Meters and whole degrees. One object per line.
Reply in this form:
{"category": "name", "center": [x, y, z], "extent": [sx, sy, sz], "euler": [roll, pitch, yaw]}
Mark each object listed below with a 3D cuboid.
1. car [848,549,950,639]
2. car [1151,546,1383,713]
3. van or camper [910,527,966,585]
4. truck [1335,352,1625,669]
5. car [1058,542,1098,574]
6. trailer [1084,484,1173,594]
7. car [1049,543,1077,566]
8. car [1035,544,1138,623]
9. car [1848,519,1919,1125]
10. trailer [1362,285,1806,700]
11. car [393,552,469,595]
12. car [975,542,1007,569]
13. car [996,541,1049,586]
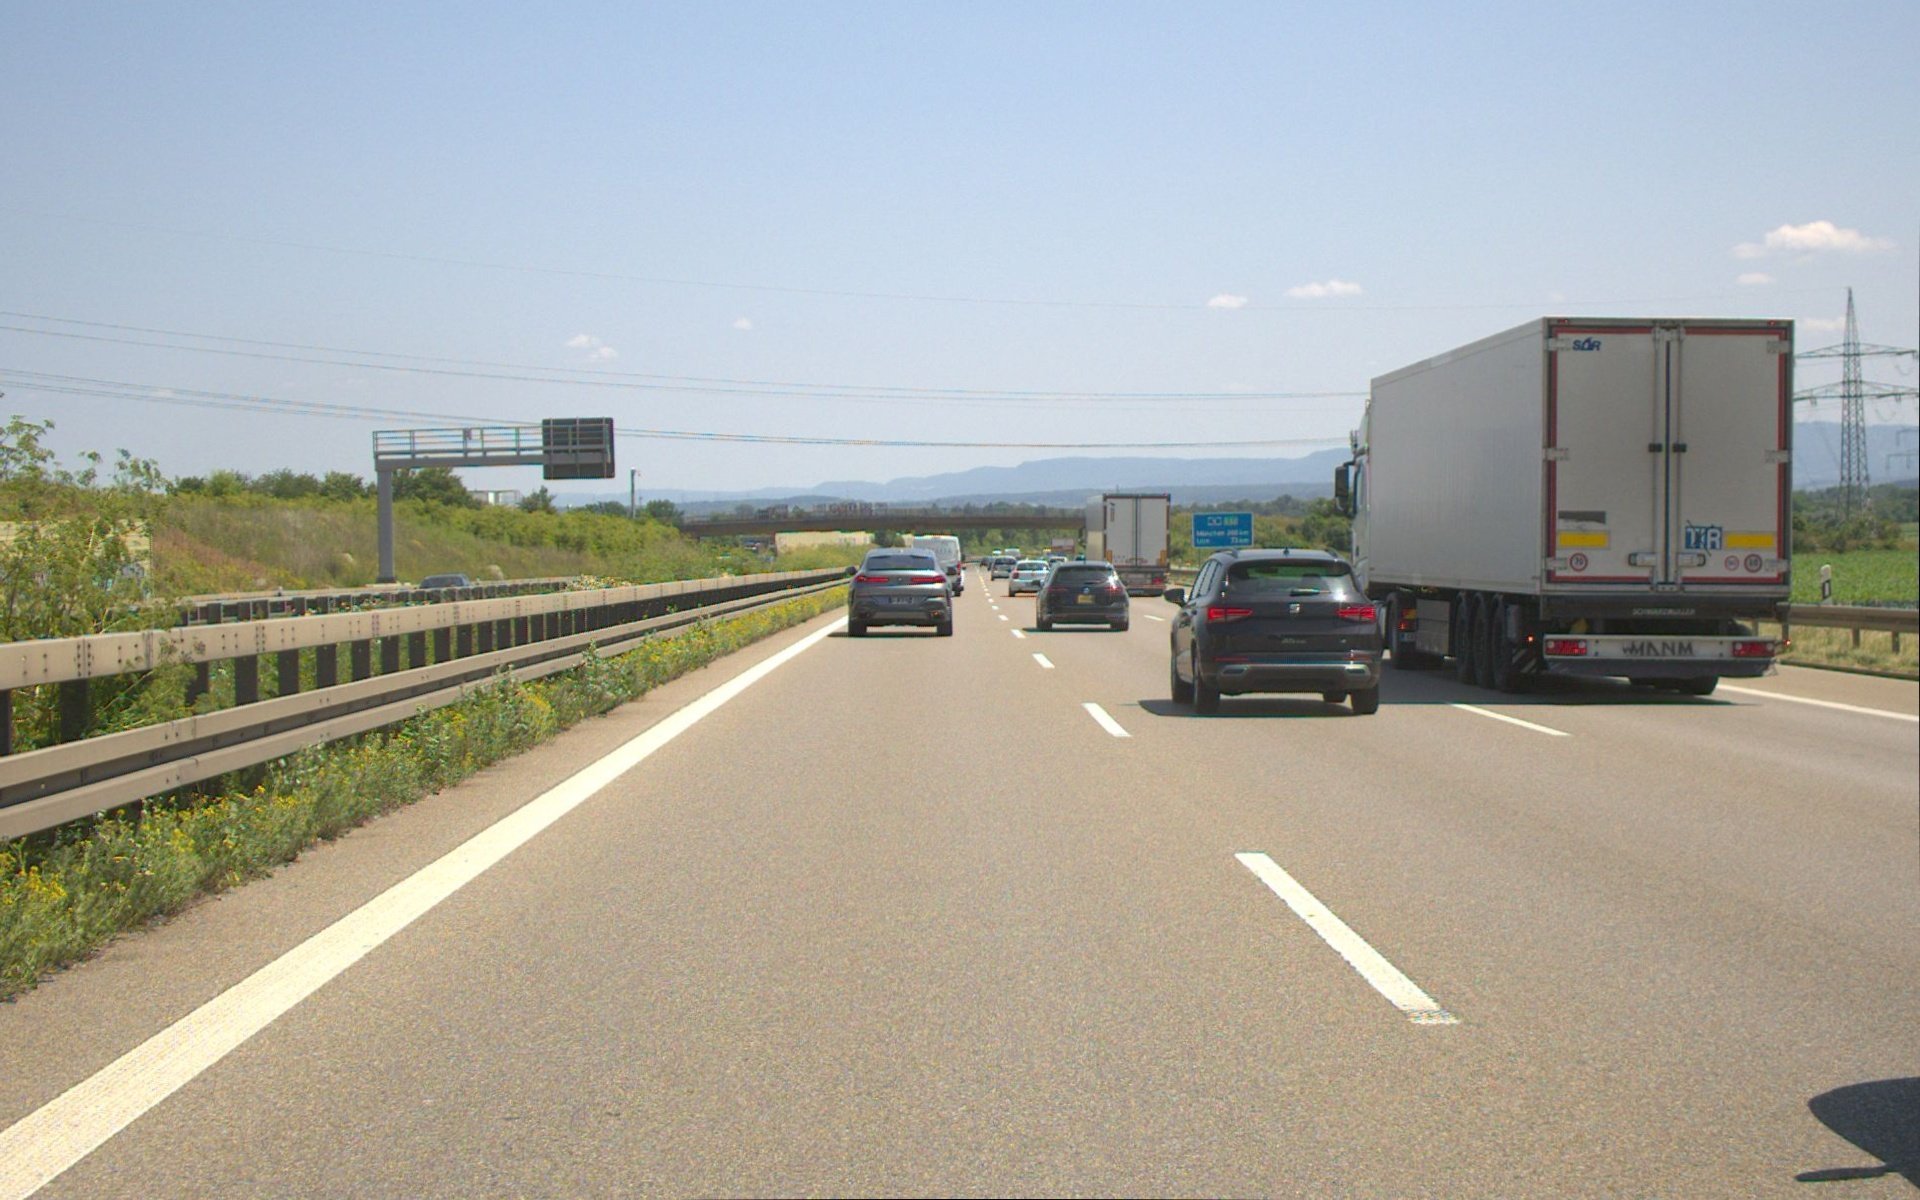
{"category": "car", "center": [-1.204, -0.133, 66.140], "extent": [1.851, 1.658, 3.735], "euler": [1, 0, -3]}
{"category": "car", "center": [2.997, 0.260, 34.262], "extent": [1.796, 1.556, 3.824], "euler": [1, 0, -3]}
{"category": "van or camper", "center": [-0.853, -1.713, 134.736], "extent": [2.110, 2.204, 5.265], "euler": [1, 0, 0]}
{"category": "truck", "center": [7.105, -1.189, 47.923], "extent": [2.862, 4.077, 6.880], "euler": [1, 0, -1]}
{"category": "car", "center": [6.331, -2.260, 184.525], "extent": [1.993, 1.677, 4.000], "euler": [1, 0, 0]}
{"category": "trailer", "center": [6.675, -2.395, 138.032], "extent": [2.943, 4.184, 13.596], "euler": [1, 0, 0]}
{"category": "car", "center": [7.653, -3.376, 255.606], "extent": [1.993, 1.677, 4.000], "euler": [1, 0, 0]}
{"category": "car", "center": [2.603, -0.348, 71.498], "extent": [1.933, 1.569, 4.935], "euler": [1, 0, 0]}
{"category": "car", "center": [3.531, 0.612, 7.675], "extent": [1.851, 1.643, 4.645], "euler": [0, 1, 0]}
{"category": "trailer", "center": [7.140, -1.157, 41.712], "extent": [2.868, 4.205, 13.295], "euler": [1, 0, 0]}
{"category": "car", "center": [-18.083, -0.925, 117.664], "extent": [1.993, 1.415, 4.000], "euler": [0, 1, -1]}
{"category": "car", "center": [1.976, -2.840, 219.361], "extent": [1.993, 1.677, 4.000], "euler": [1, 0, 0]}
{"category": "car", "center": [2.413, -1.416, 133.773], "extent": [1.993, 1.677, 4.000], "euler": [1, 0, 0]}
